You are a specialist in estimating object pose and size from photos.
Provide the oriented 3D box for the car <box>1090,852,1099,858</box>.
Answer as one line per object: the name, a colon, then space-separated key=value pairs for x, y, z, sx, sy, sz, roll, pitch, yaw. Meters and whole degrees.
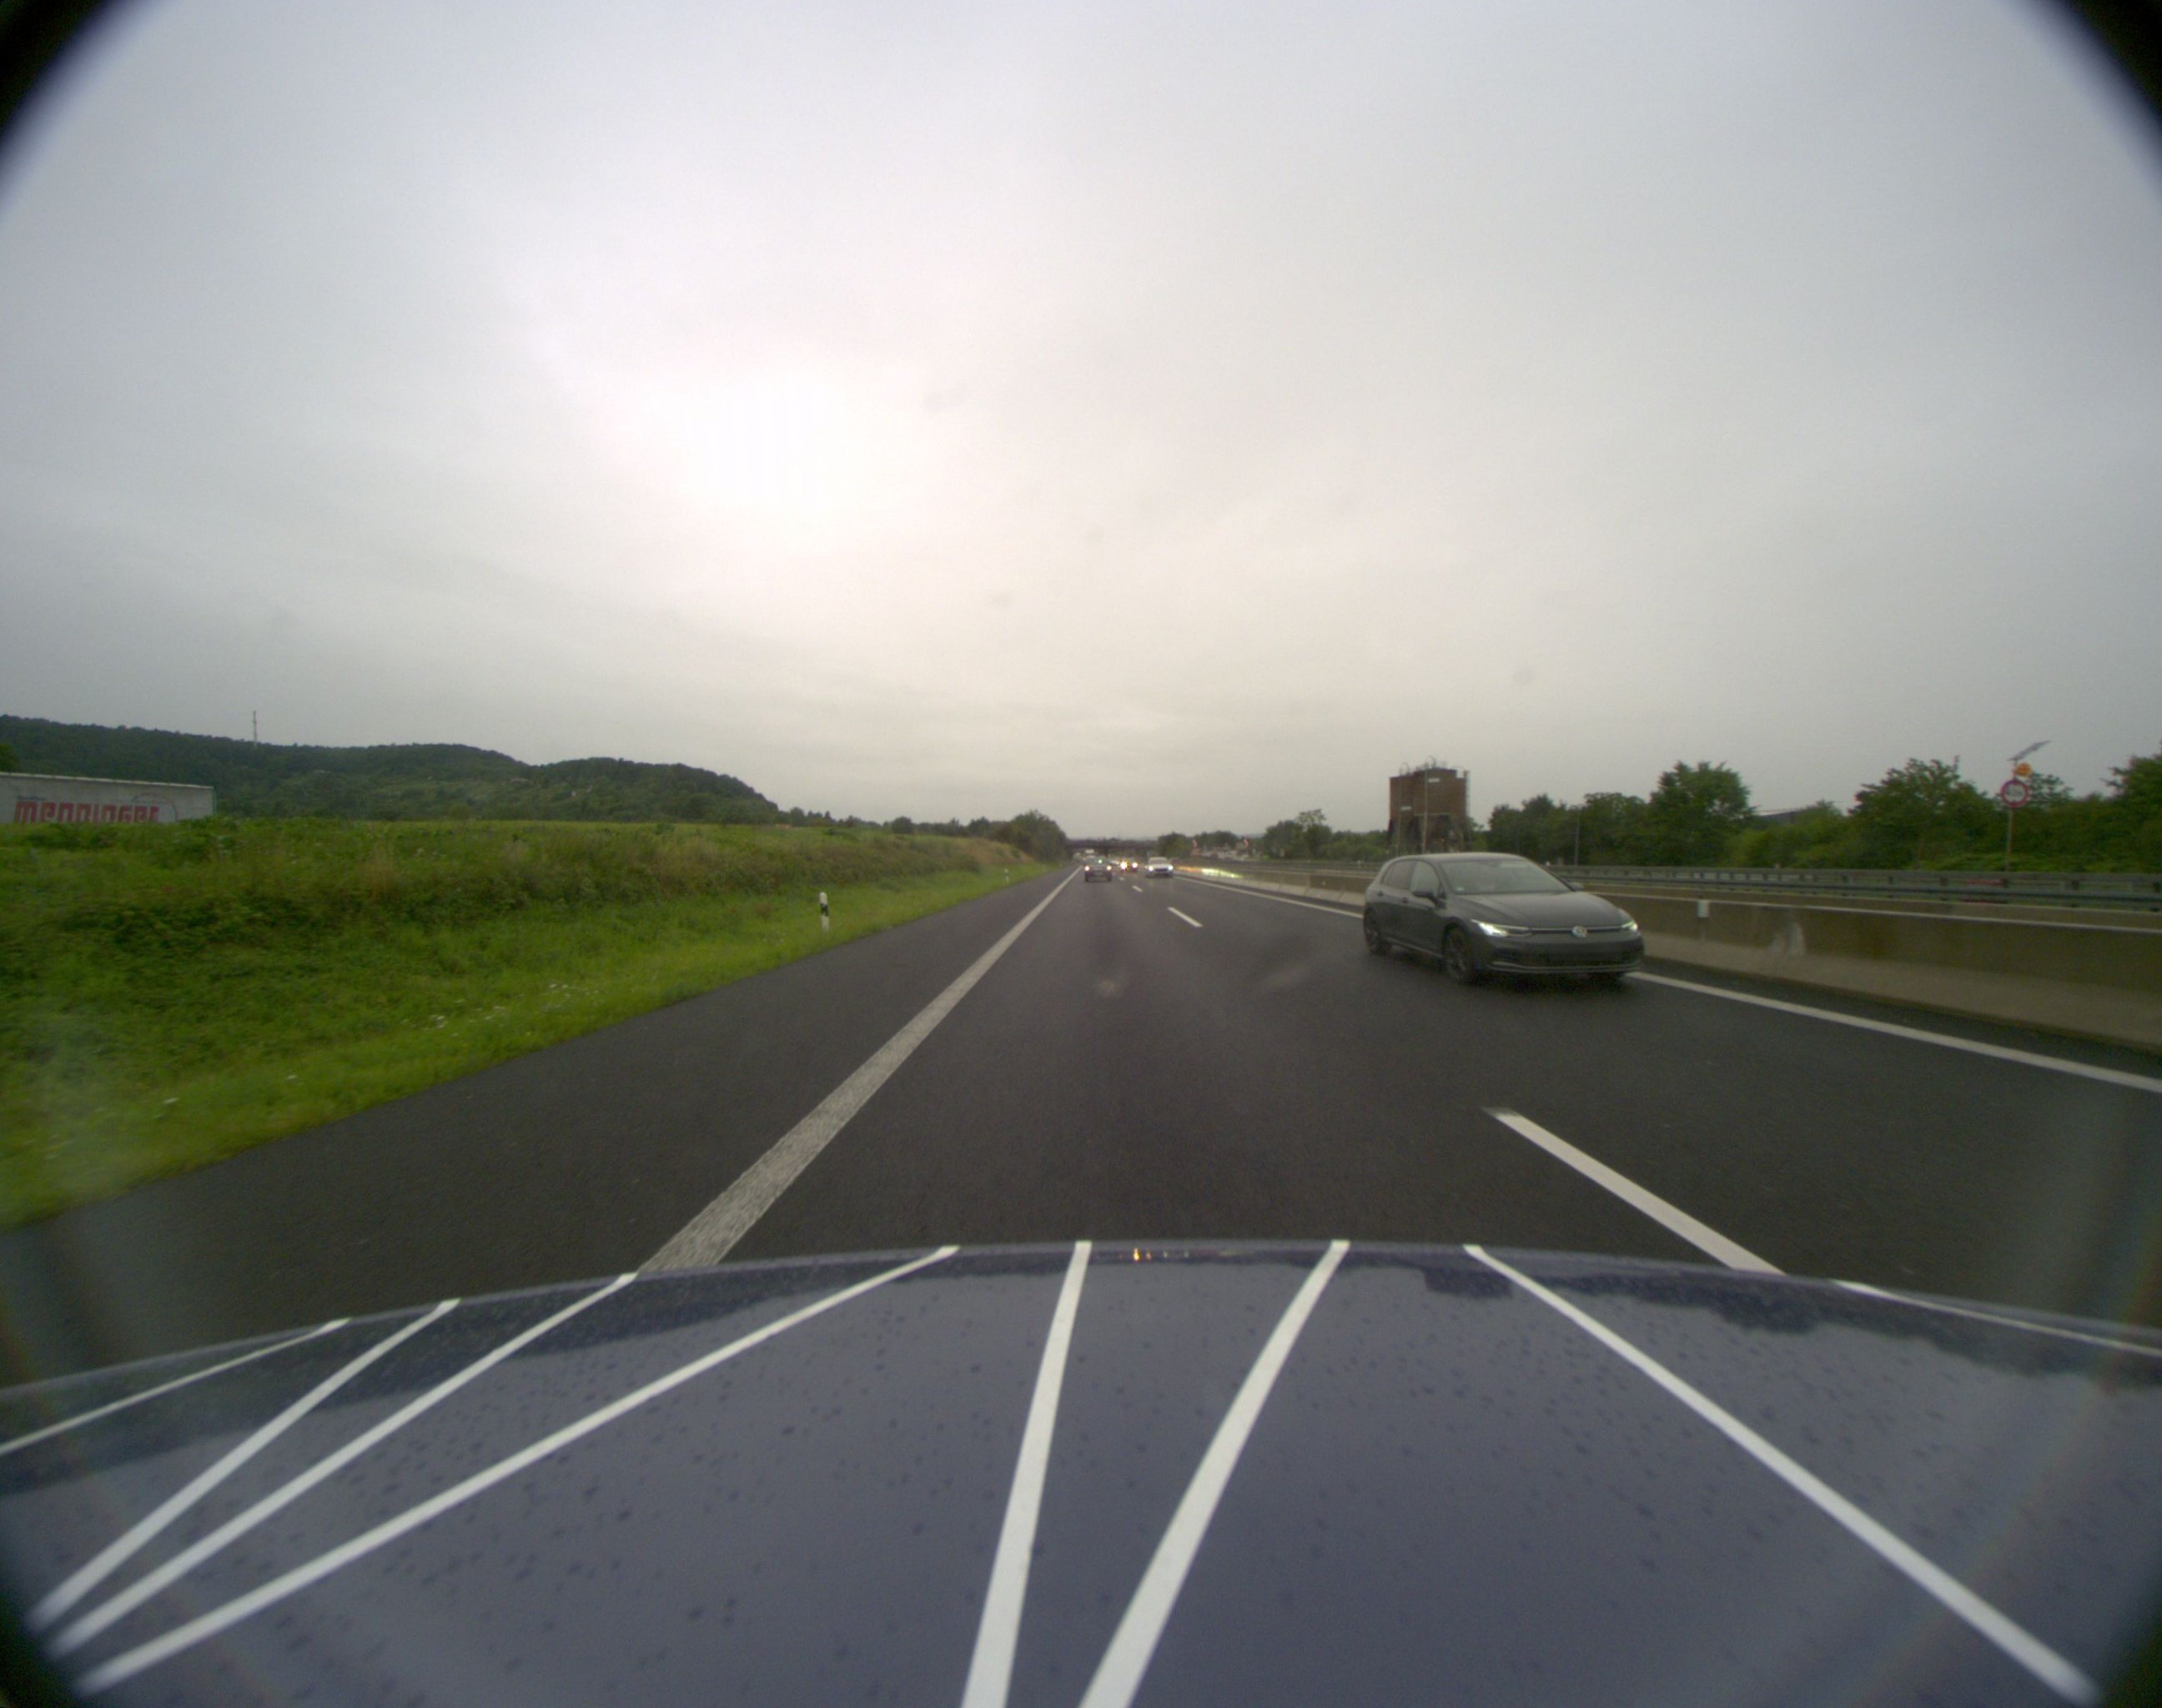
car: x=3.001 y=0.229 z=169.947 sx=1.942 sy=1.341 sz=4.000 roll=-3 pitch=-1 yaw=1

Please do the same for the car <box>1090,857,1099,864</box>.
car: x=2.901 y=1.408 z=163.788 sx=1.942 sy=1.341 sz=4.000 roll=-3 pitch=-1 yaw=1

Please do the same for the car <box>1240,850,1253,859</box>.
car: x=35.809 y=0.122 z=164.671 sx=1.998 sy=1.751 sz=4.505 roll=-1 pitch=0 yaw=1

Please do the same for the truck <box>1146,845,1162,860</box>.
truck: x=20.017 y=-0.347 z=208.223 sx=2.976 sy=3.688 sz=11.910 roll=-3 pitch=-1 yaw=0

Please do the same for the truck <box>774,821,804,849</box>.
truck: x=-44.907 y=-2.860 z=116.988 sx=2.515 sy=3.963 sz=5.926 roll=-2 pitch=0 yaw=-3

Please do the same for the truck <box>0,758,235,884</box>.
truck: x=-40.447 y=-1.126 z=26.567 sx=3.832 sy=4.514 sz=16.876 roll=-1 pitch=0 yaw=-5

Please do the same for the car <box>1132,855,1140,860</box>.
car: x=16.737 y=1.077 z=231.476 sx=1.785 sy=1.622 sz=3.999 roll=0 pitch=0 yaw=-1

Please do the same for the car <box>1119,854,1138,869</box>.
car: x=4.935 y=0.746 z=78.887 sx=1.835 sy=1.416 sz=4.368 roll=-2 pitch=0 yaw=2

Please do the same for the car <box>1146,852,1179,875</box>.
car: x=6.031 y=0.696 z=56.790 sx=1.998 sy=1.581 sz=4.817 roll=-2 pitch=0 yaw=2

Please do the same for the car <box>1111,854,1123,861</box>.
car: x=7.083 y=0.667 z=149.871 sx=1.942 sy=1.341 sz=4.000 roll=-3 pitch=-1 yaw=0

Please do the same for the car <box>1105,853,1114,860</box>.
car: x=6.764 y=0.500 z=181.834 sx=1.998 sy=1.565 sz=4.000 roll=-2 pitch=0 yaw=1

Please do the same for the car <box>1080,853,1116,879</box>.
car: x=1.186 y=0.742 z=50.463 sx=2.242 sy=1.565 sz=4.817 roll=-2 pitch=0 yaw=2

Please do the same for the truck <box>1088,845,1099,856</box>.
truck: x=3.633 y=-0.985 z=220.374 sx=2.728 sy=3.098 sz=7.960 roll=-3 pitch=-1 yaw=1

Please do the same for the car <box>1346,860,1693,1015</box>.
car: x=5.024 y=0.826 z=9.564 sx=1.835 sy=1.417 sz=4.368 roll=-2 pitch=0 yaw=0

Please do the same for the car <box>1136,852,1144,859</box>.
car: x=15.364 y=0.401 z=196.586 sx=1.717 sy=1.586 sz=4.000 roll=-2 pitch=0 yaw=0

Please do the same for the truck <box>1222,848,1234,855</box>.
truck: x=39.576 y=-0.611 z=204.475 sx=1.999 sy=1.635 sz=5.405 roll=-3 pitch=0 yaw=-1

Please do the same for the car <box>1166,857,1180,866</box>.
car: x=14.176 y=1.118 z=117.002 sx=1.860 sy=1.383 sz=4.445 roll=-1 pitch=0 yaw=2
